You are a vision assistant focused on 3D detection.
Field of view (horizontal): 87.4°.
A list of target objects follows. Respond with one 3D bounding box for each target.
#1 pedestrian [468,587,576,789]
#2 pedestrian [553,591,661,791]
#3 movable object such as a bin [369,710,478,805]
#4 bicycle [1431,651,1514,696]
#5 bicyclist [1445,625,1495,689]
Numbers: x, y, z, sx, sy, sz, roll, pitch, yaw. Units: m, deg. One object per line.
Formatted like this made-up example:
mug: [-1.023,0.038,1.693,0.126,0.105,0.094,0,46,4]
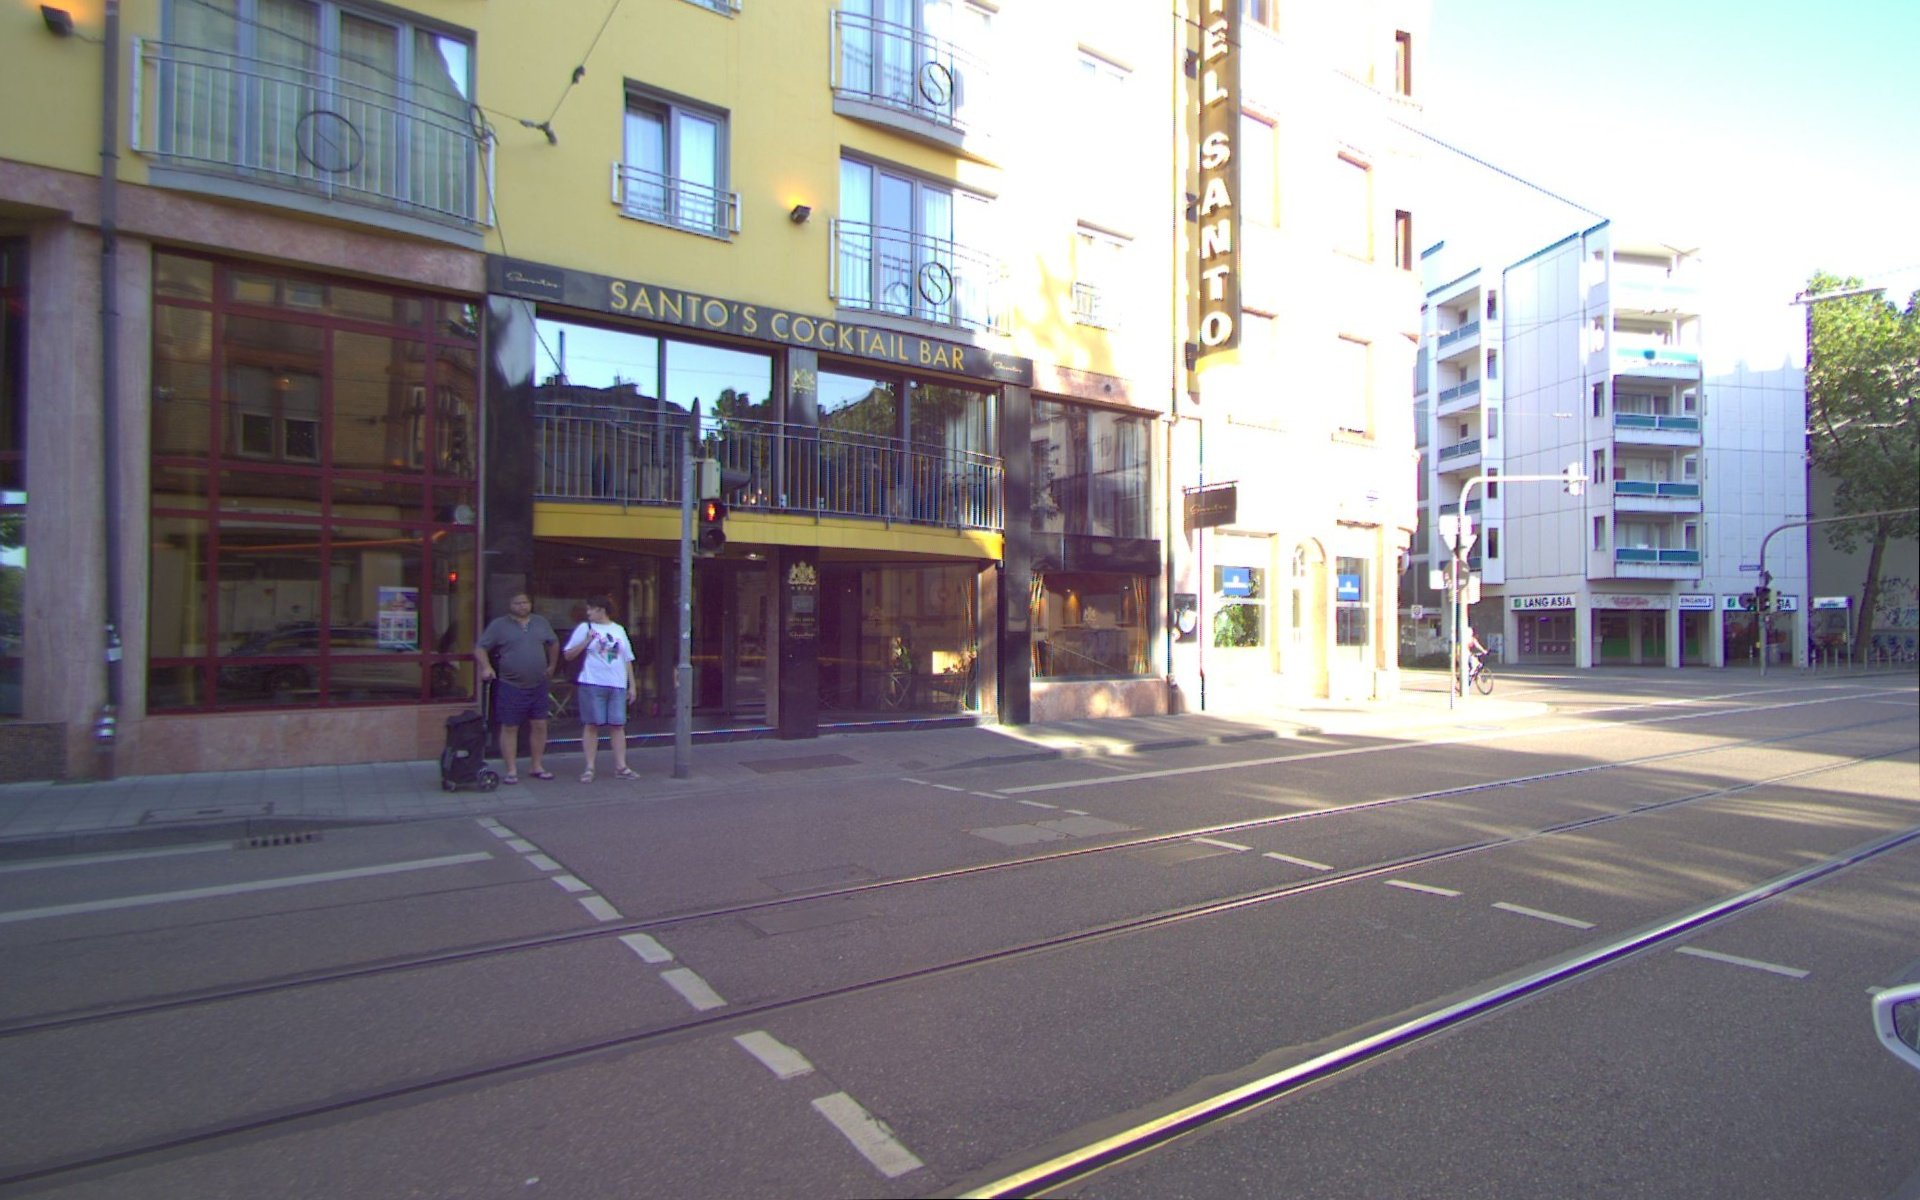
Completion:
pedestrian: [-4.188,0.793,9.585,0.792,1.795,0.742,1,3,-35]
pedestrian: [-3.571,0.864,10.116,0.746,1.843,1.035,1,3,-35]
movable object such as a bin: [-4.818,1.396,9.027,0.832,0.726,0.381,1,3,-33]
bicycle: [13.639,1.934,26.798,0.691,1.124,1.881,1,-2,-33]
bicyclist: [13.625,1.503,26.854,0.696,1.665,0.981,2,-2,-33]
